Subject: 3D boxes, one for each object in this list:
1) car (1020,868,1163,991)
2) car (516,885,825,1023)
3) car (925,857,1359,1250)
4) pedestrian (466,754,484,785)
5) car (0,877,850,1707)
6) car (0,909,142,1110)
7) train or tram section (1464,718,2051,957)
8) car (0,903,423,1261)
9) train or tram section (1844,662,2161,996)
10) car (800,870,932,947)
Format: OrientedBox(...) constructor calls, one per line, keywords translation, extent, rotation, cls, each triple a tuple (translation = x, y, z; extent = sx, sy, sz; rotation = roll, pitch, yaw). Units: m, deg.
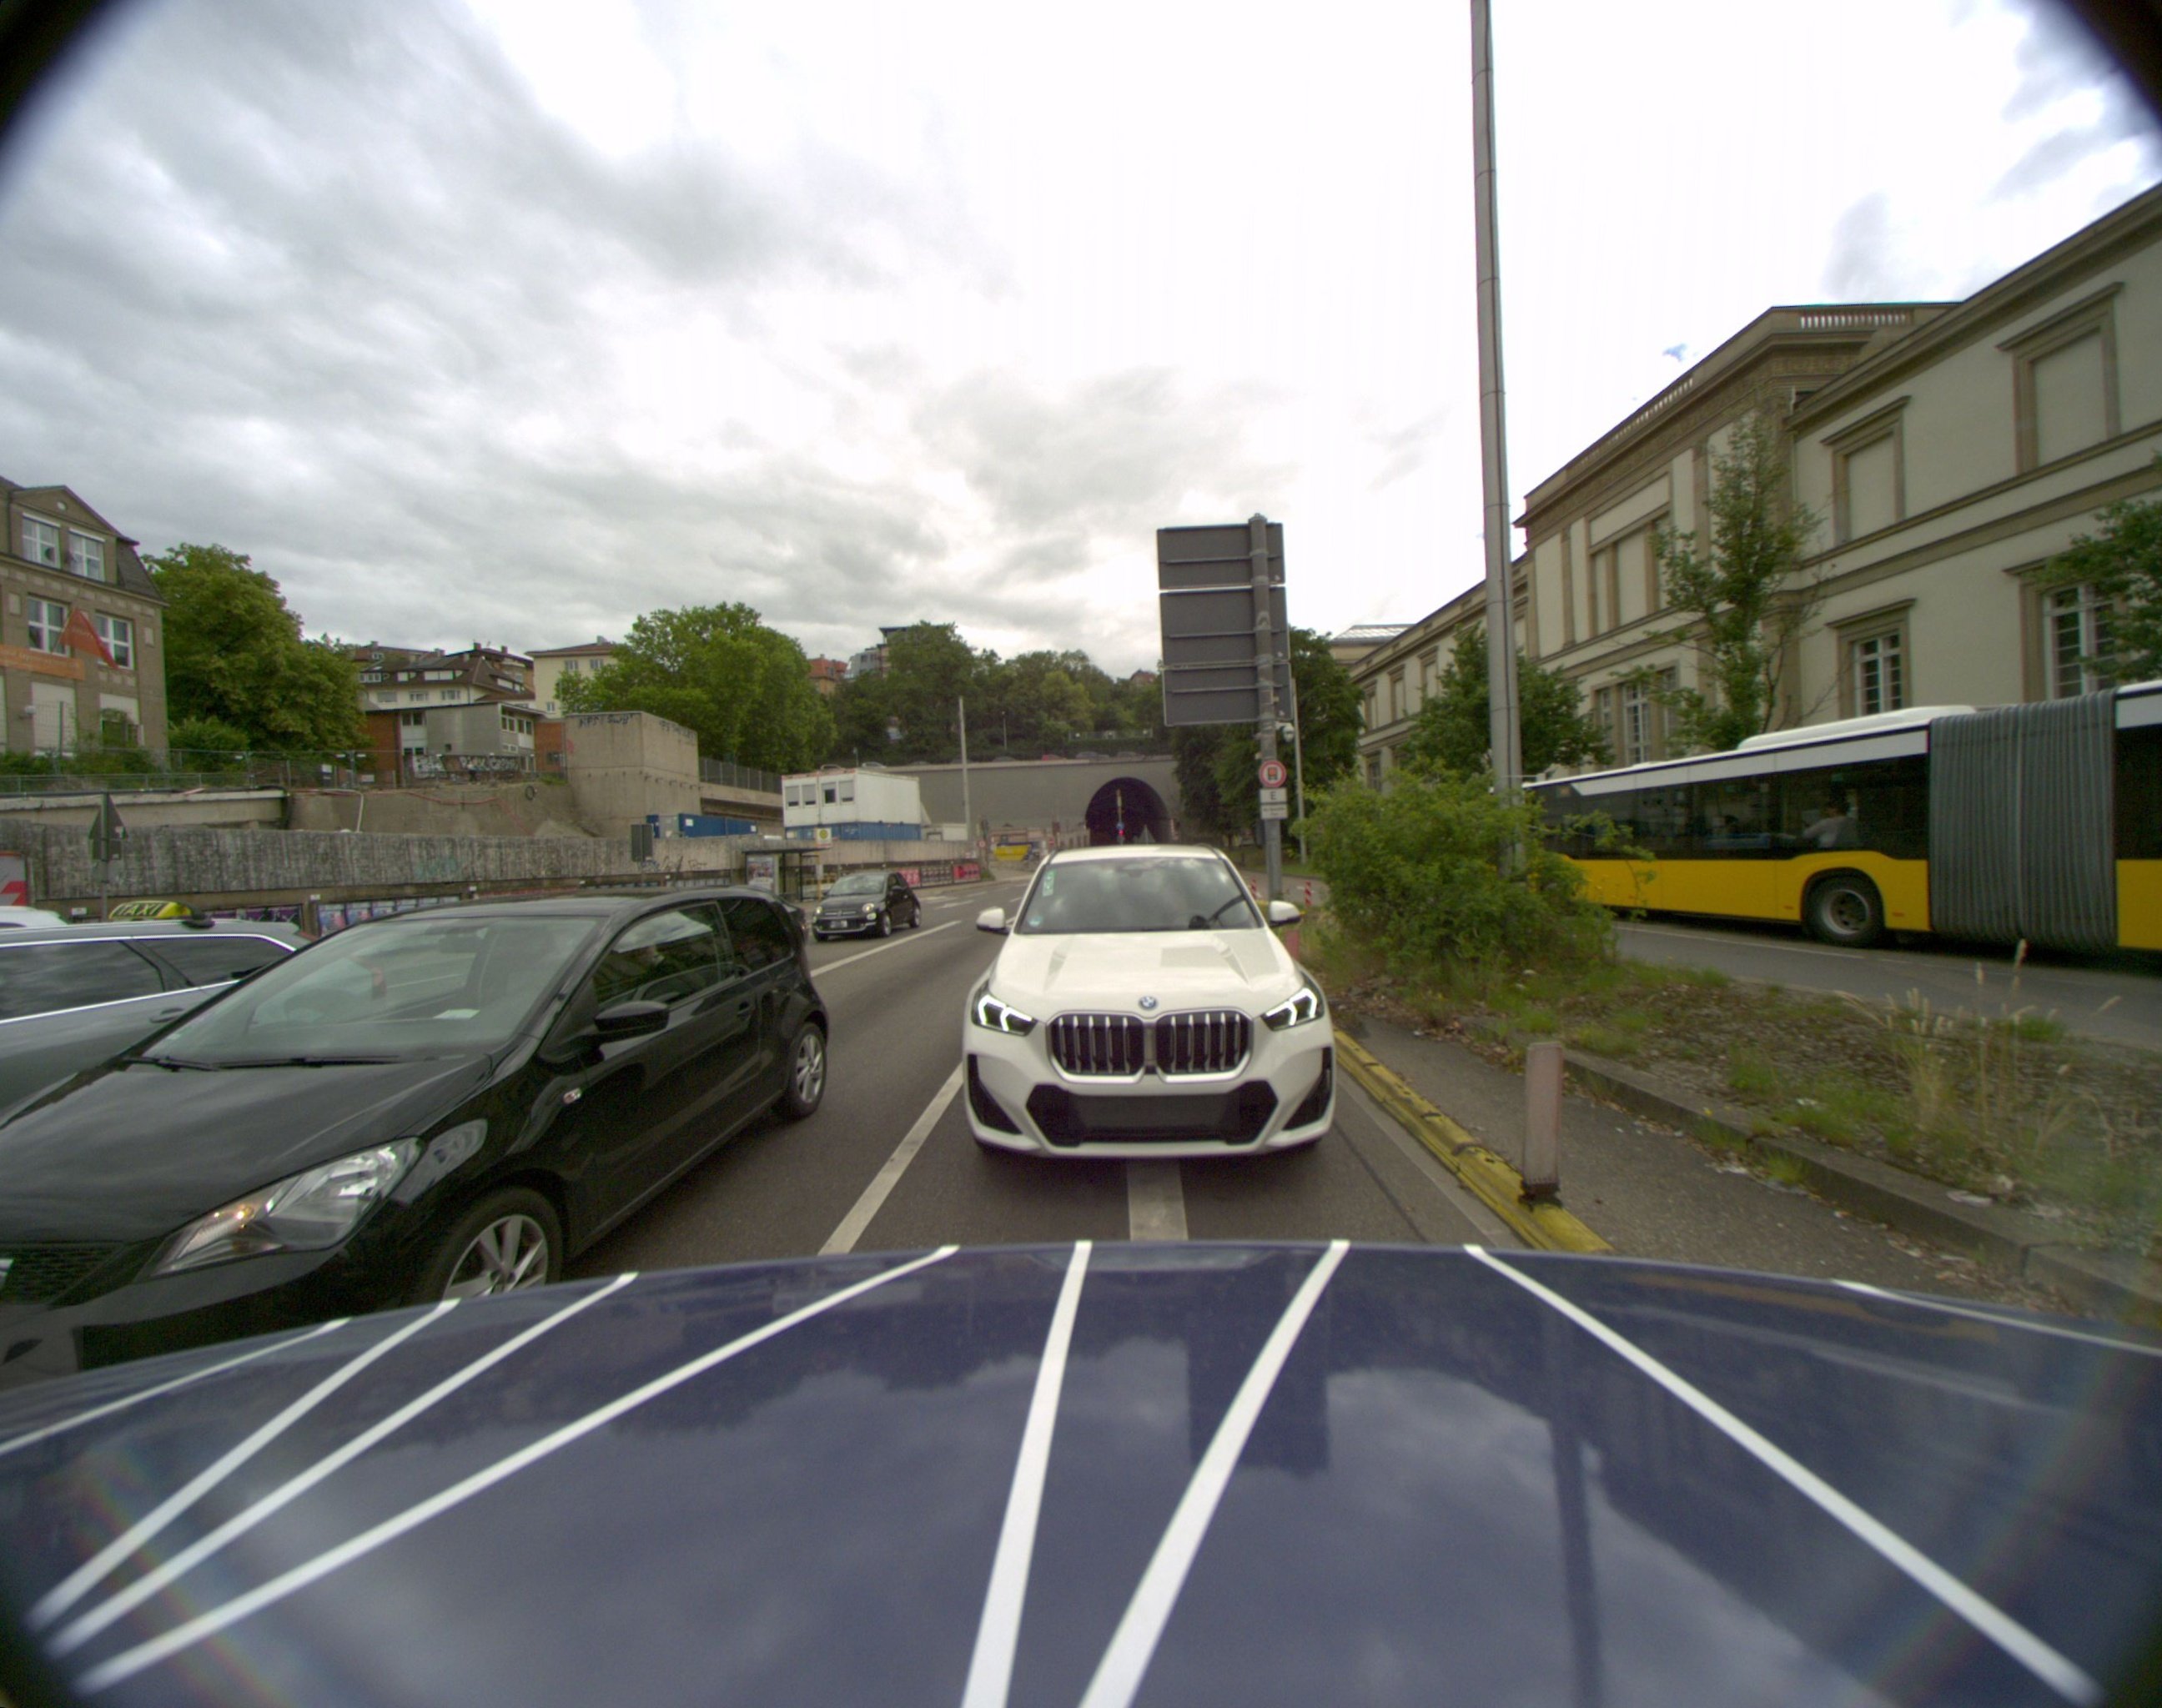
OrientedBox(translation=(0.219, 0.998, 11.610), extent=(1.756, 1.427, 3.911), rotation=(-2, 0, 3), cls="car")
OrientedBox(translation=(-5.401, 1.232, 10.771), extent=(1.826, 1.356, 4.219), rotation=(-2, 0, 4), cls="car")
OrientedBox(translation=(0.338, 0.854, 5.134), extent=(1.756, 1.547, 3.911), rotation=(-2, 1, 3), cls="car")
OrientedBox(translation=(-36.839, -5.111, 46.213), extent=(0.554, 1.784, 0.570), rotation=(-2, 1, 11), cls="pedestrian")
OrientedBox(translation=(-2.531, 0.985, 3.286), extent=(1.661, 1.547, 3.911), rotation=(-2, 1, 3), cls="car")
OrientedBox(translation=(-9.152, 1.264, 4.589), extent=(1.826, 1.457, 4.073), rotation=(-2, 1, 0), cls="car")
OrientedBox(translation=(11.151, -0.217, 14.530), extent=(2.701, 3.053, 9.375), rotation=(-1, 0, -1), cls="train or tram section")
OrientedBox(translation=(-5.826, 1.149, 3.465), extent=(1.826, 1.457, 4.217), rotation=(-2, 1, 2), cls="car")
OrientedBox(translation=(11.244, -0.245, 5.187), extent=(2.700, 3.053, 9.336), rotation=(-1, 0, 0), cls="train or tram section")
OrientedBox(translation=(-4.861, 1.188, 17.762), extent=(1.720, 1.450, 3.782), rotation=(-3, 0, 4), cls="car")
